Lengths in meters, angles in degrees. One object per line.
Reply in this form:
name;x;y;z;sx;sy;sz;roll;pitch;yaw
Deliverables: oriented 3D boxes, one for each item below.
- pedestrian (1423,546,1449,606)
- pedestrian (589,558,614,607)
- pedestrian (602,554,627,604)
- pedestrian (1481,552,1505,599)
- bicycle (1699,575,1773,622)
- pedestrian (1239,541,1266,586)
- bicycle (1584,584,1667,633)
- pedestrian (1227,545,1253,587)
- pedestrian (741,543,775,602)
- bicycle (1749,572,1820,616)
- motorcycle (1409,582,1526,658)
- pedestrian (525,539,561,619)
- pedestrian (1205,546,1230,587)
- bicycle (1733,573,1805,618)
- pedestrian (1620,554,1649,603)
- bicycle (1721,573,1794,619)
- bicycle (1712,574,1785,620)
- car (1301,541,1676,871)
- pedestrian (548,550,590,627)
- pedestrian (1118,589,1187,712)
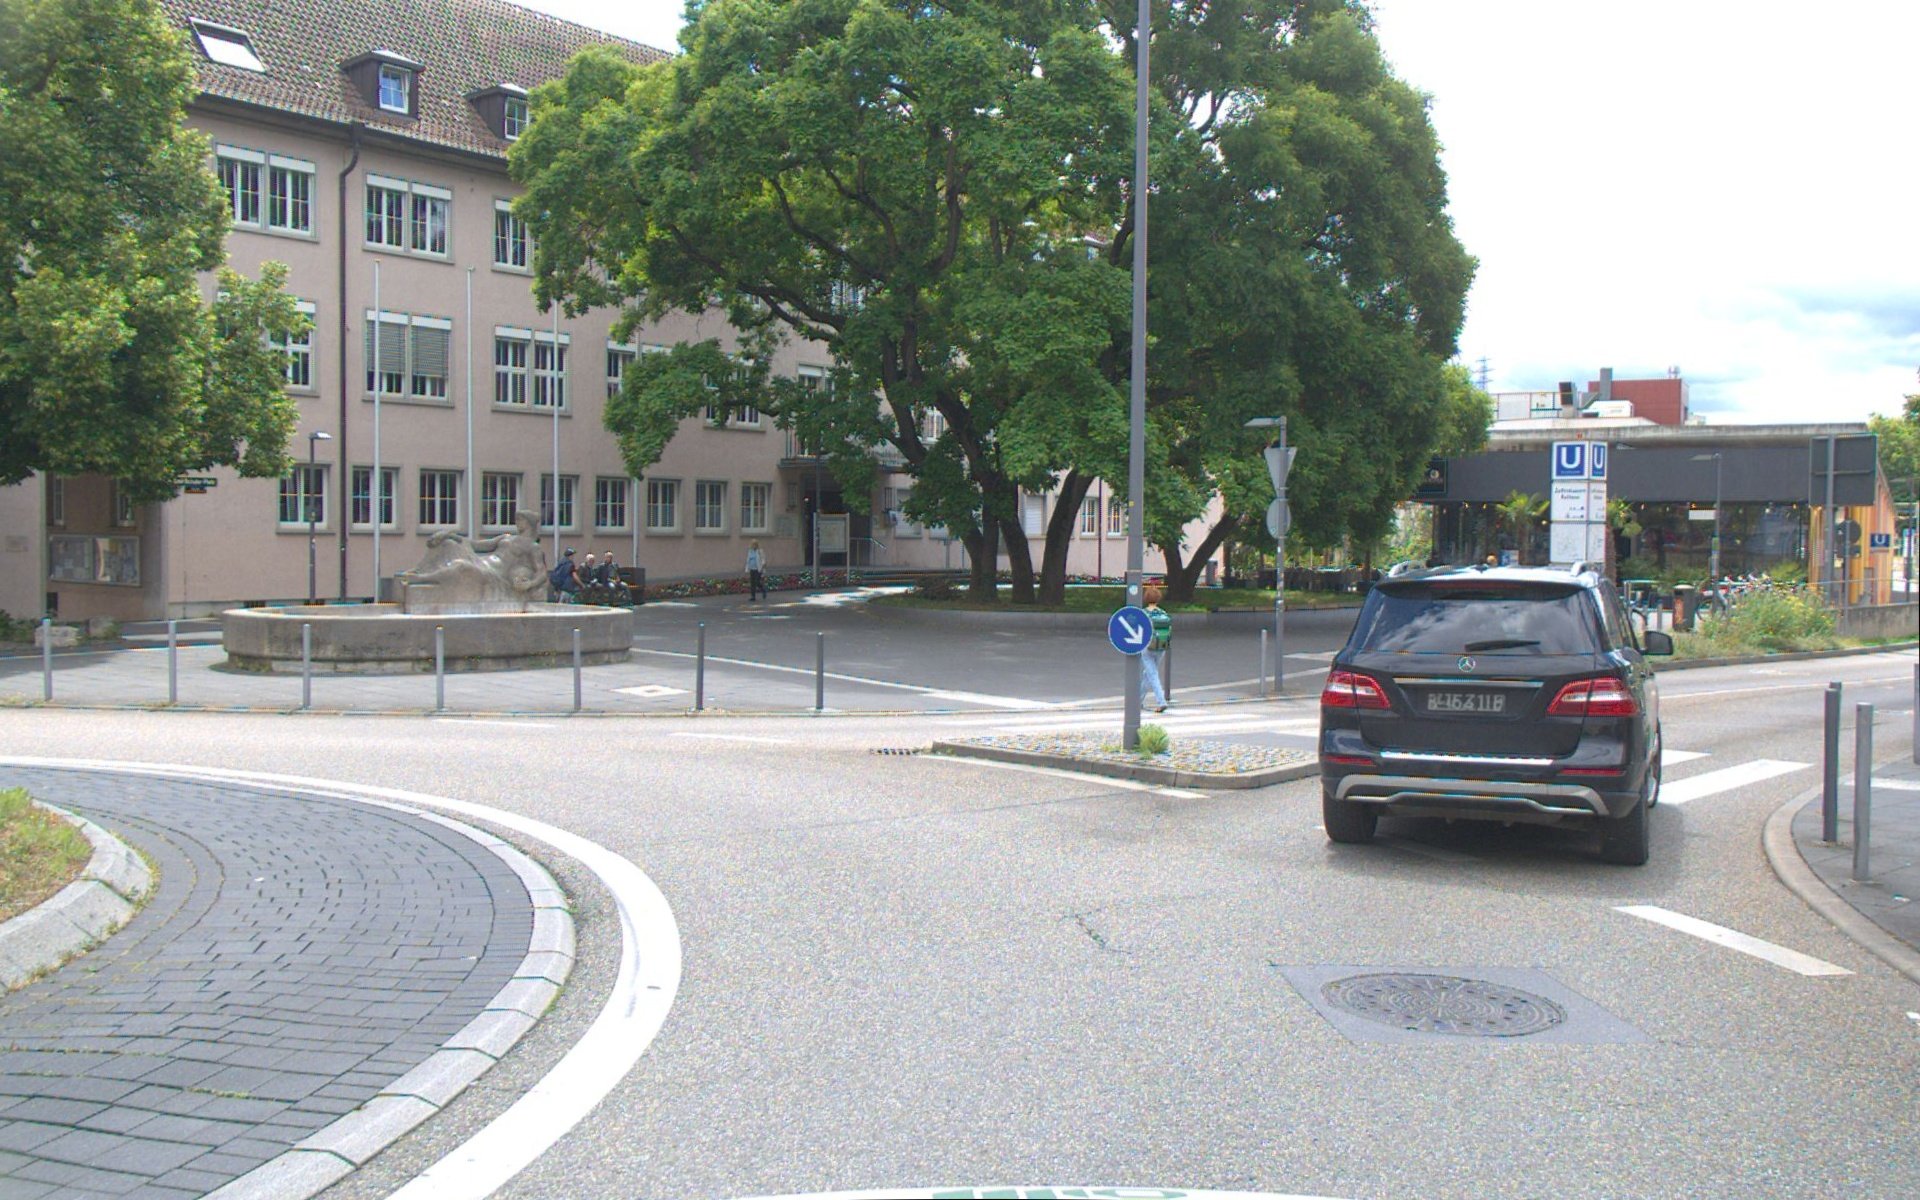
pedestrian;12.872;-0.644;44.726;0.601;1.604;0.583;1;1;9
pedestrian;-8.863;-0.427;40.900;0.476;1.203;0.581;1;0;0
pedestrian;-8.703;-0.532;41.637;0.476;1.243;0.581;1;0;0
pedestrian;16.033;-0.745;49.768;0.570;1.403;0.615;1;1;30
bicycle;19.018;-0.050;40.546;1.546;1.110;0.574;2;1;44
pedestrian;10.953;-1.361;61.836;0.774;1.656;0.633;1;1;42
bicycle;14.298;0.177;35.568;0.495;1.014;1.593;0;1;-41
pedestrian;10.765;-1.322;63.625;0.774;1.604;0.633;1;1;42
pedestrian;-5.296;-0.713;43.308;0.688;1.519;0.810;1;0;-21
bicycle;21.421;-0.167;42.972;1.546;1.110;0.574;2;1;44
motorcycle;9.687;0.358;31.634;0.579;1.311;2.104;-3;5;-44
pedestrian;-8.747;-0.437;34.670;0.567;1.636;0.433;1;4;-33
pedestrian;10.146;-1.325;65.073;0.626;1.604;0.783;1;1;43
bicycle;20.719;-0.118;42.363;1.546;1.110;0.574;2;1;44
pedestrian;20.482;-0.659;50.237;0.610;1.489;0.575;0;1;-39
bicycle;20.086;-0.107;41.665;1.546;1.110;0.574;2;1;44
bicycle;19.573;-0.078;41.073;1.546;1.087;0.535;2;1;44
car;3.747;0.541;11.243;1.986;1.757;4.432;0;1;23
pedestrian;-8.081;-0.241;34.159;0.630;1.549;0.571;1;4;-33
pedestrian;2.537;0.656;21.865;0.544;1.540;0.780;-1;4;-30
